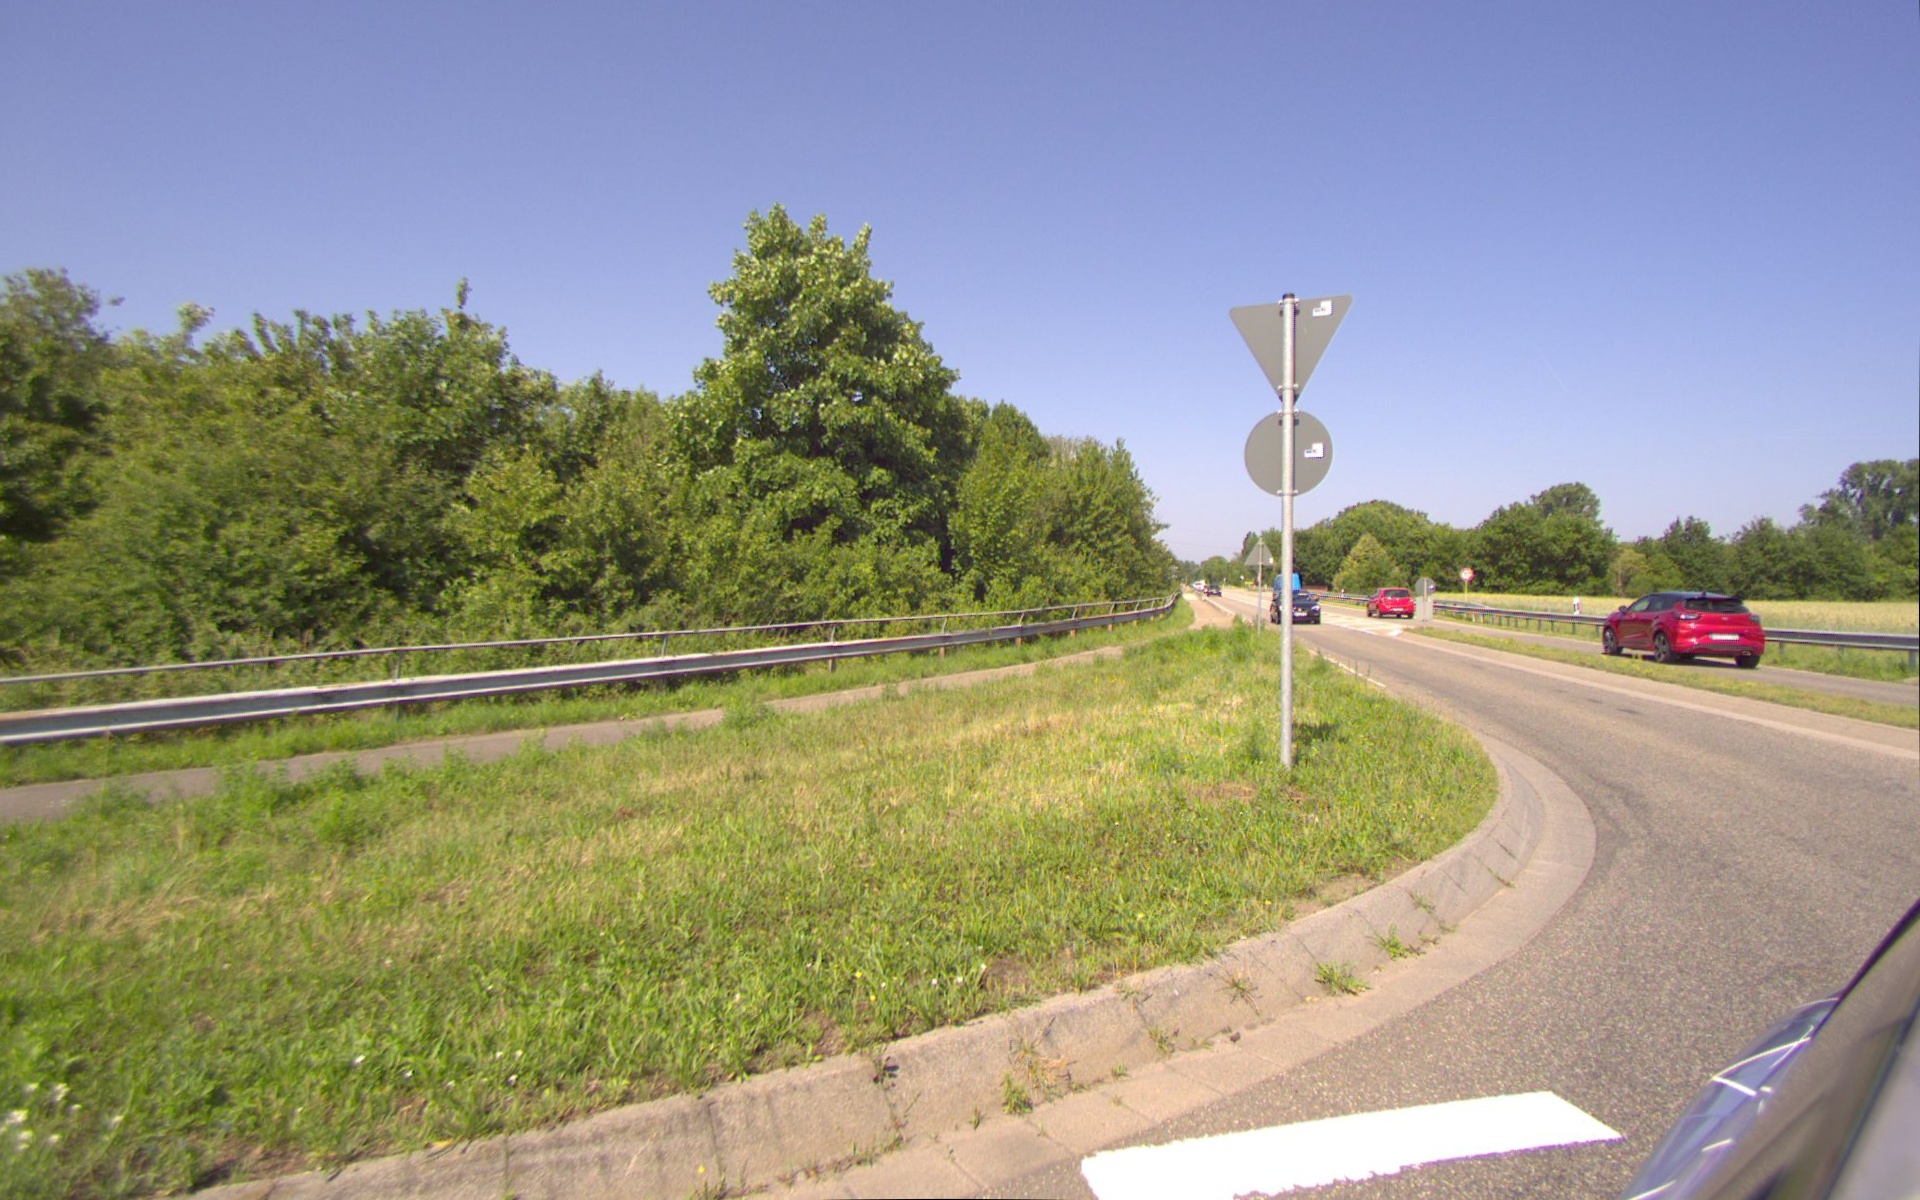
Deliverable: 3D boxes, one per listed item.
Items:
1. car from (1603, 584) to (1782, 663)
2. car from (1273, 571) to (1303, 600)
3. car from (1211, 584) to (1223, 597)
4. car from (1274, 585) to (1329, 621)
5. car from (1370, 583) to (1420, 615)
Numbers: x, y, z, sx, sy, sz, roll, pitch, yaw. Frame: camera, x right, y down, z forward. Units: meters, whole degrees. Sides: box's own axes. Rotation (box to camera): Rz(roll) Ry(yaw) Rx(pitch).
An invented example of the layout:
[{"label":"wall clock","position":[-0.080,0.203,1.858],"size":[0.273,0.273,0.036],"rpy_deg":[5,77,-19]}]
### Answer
[{"label":"car","position":[15.857,0.460,22.168],"size":[1.723,1.542,3.817],"rpy_deg":[1,0,12]},{"label":"car","position":[31.488,-1.382,97.335],"size":[1.969,2.644,7.264],"rpy_deg":[2,1,12]},{"label":"car","position":[34.409,-1.276,135.405],"size":[1.439,1.668,3.523],"rpy_deg":[-1,0,12]},{"label":"car","position":[14.405,0.107,42.889],"size":[1.781,1.415,4.164],"rpy_deg":[-1,1,13]},{"label":"car","position":[21.949,-0.080,51.214],"size":[1.607,1.509,3.789],"rpy_deg":[1,1,12]}]
